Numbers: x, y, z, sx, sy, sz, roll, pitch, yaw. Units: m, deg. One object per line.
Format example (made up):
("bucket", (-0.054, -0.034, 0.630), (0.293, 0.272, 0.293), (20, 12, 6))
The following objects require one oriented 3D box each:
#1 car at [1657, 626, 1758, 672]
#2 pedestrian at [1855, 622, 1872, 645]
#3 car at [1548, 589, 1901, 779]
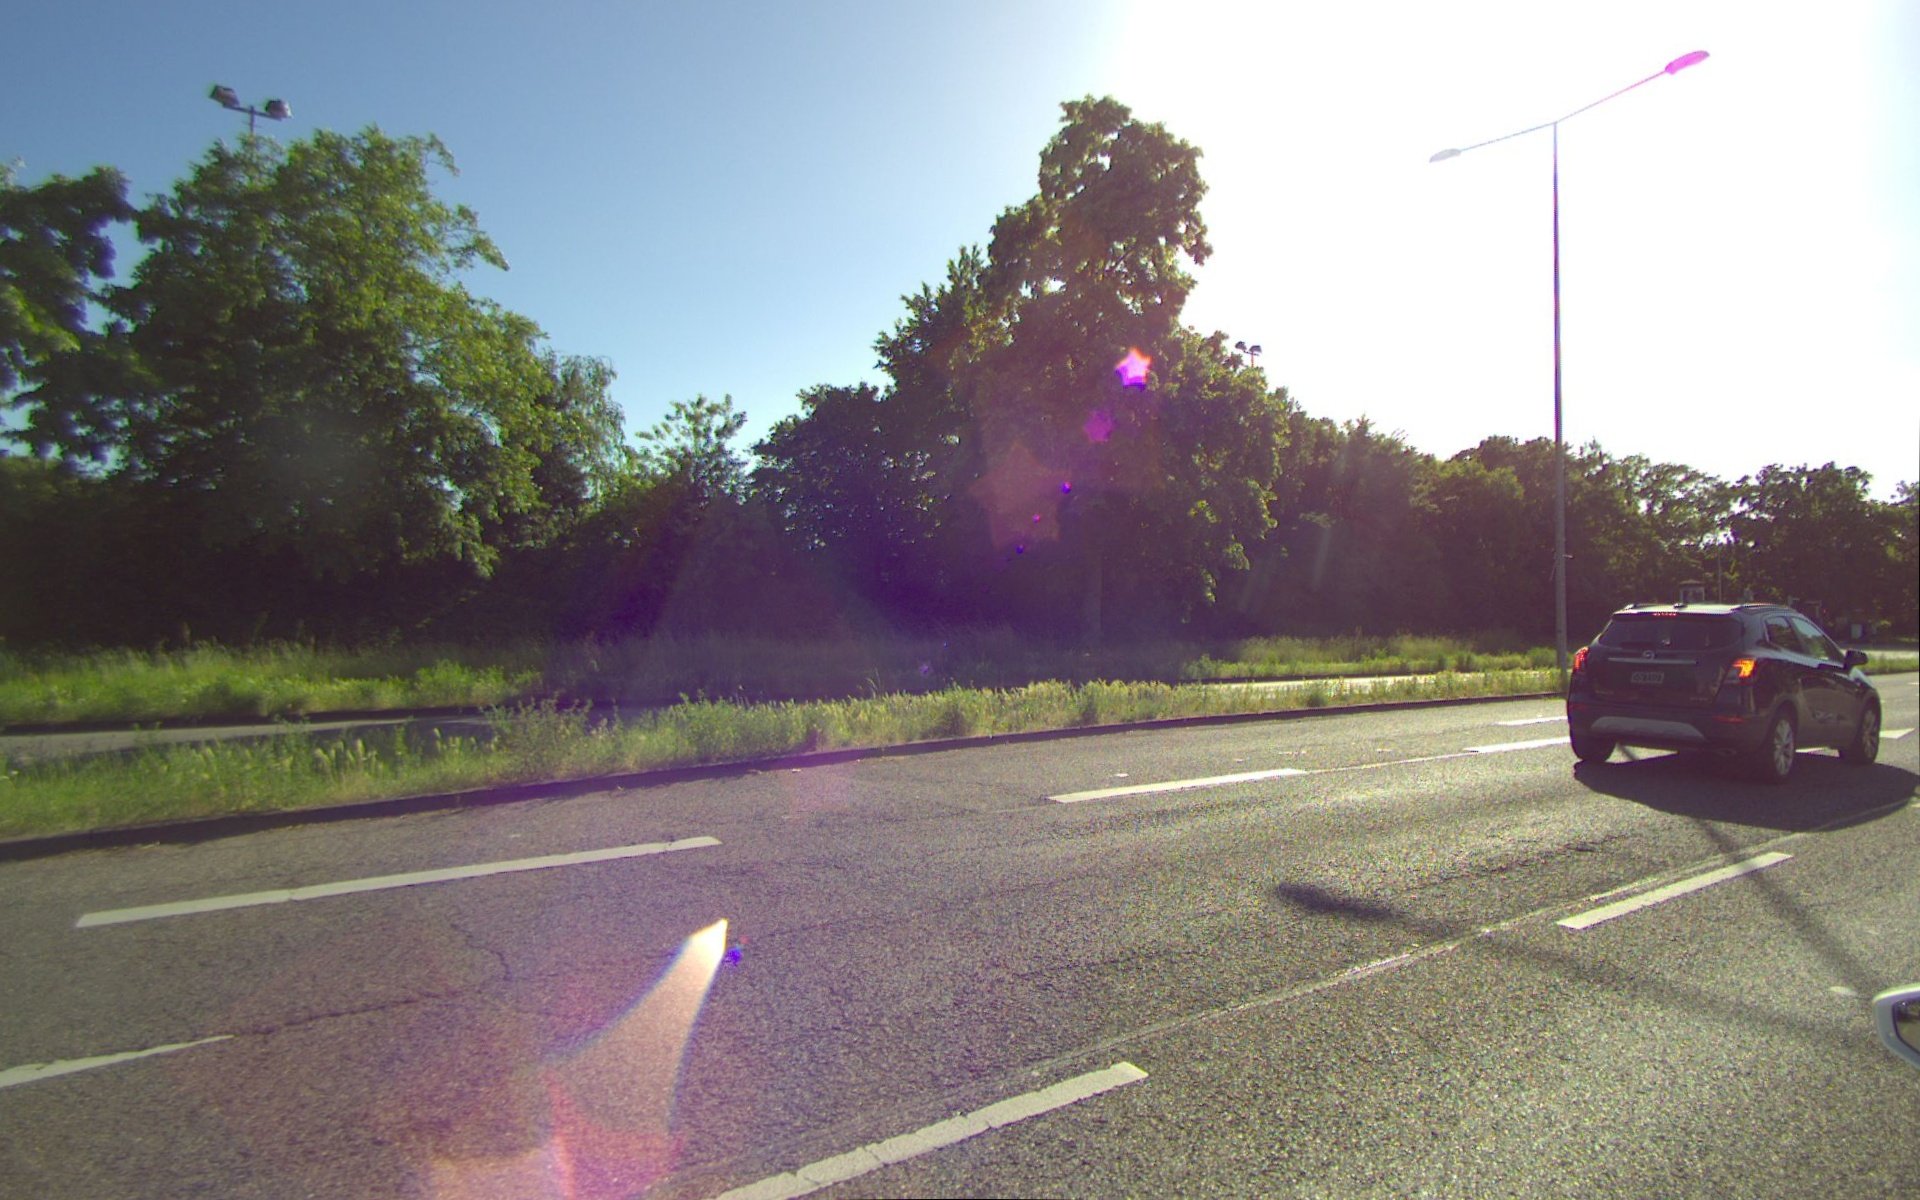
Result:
("car", (30.170, 1.972, 40.526), (4.361, 1.726, 1.900), (2, -1, -34))
("pedestrian", (72.740, 2.686, 80.861), (0.543, 1.860, 0.842), (2, -1, -29))
("car", (8.232, 0.792, 10.695), (4.372, 1.653, 1.685), (1, -2, -34))
